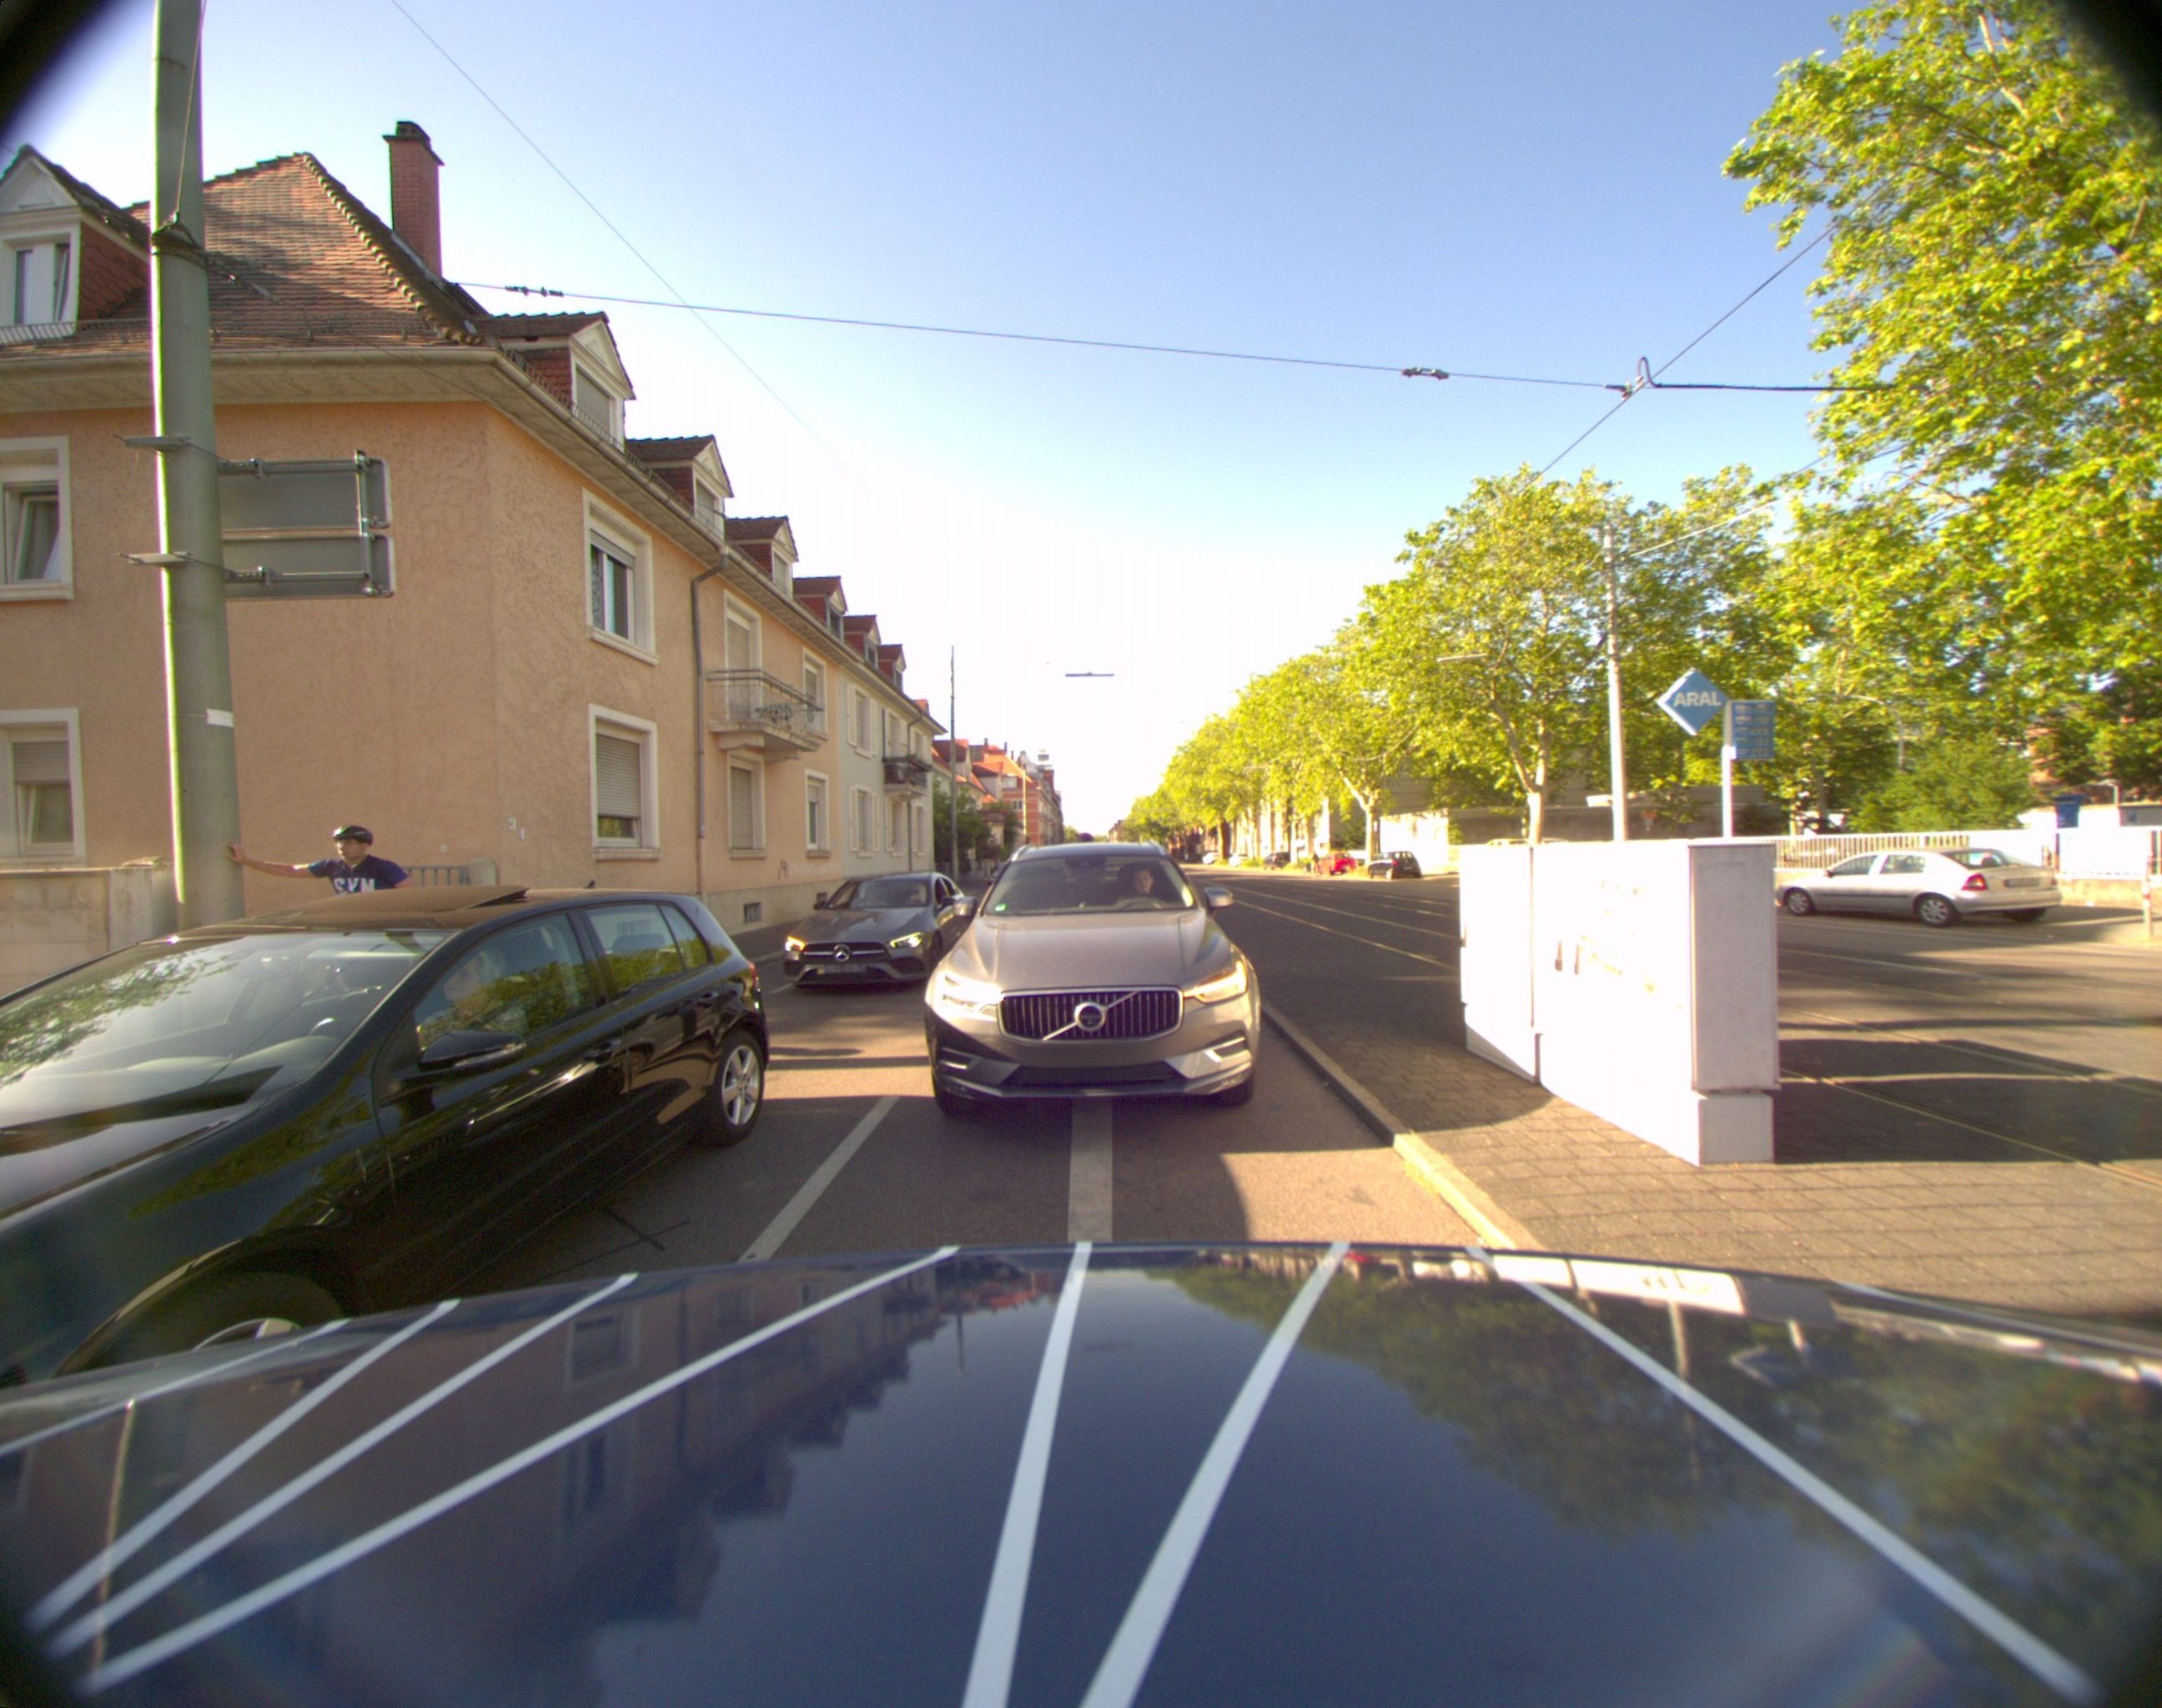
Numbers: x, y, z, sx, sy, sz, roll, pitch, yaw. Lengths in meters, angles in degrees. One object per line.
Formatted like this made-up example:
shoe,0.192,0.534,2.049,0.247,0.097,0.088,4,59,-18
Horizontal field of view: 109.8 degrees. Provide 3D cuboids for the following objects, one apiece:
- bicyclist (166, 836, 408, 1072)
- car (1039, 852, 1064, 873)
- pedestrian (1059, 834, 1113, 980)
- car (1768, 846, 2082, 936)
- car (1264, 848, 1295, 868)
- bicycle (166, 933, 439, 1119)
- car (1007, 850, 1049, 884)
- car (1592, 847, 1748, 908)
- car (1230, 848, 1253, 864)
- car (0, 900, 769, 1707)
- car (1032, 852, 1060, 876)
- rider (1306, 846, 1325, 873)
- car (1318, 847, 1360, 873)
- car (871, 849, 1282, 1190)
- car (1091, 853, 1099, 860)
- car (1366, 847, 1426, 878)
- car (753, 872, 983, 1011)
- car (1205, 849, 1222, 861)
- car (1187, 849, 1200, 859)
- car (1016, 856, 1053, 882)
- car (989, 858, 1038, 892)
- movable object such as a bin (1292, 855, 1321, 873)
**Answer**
bicyclist,-6.061,0.733,5.862,1.021,1.684,0.729,2,0,-7
car,-2.587,0.694,67.285,1.825,1.701,4.334,-2,1,1
pedestrian,0.065,0.676,9.930,0.609,1.832,0.599,-2,1,1
car,16.202,0.627,14.956,1.687,1.358,3.989,-6,0,1
car,17.211,0.318,65.967,1.754,1.582,3.878,-5,1,3
bicycle,-5.888,1.241,5.893,0.556,1.069,1.624,2,0,-7
car,-2.902,0.689,42.400,1.825,1.701,4.334,-2,1,1
car,16.364,0.598,21.365,1.619,1.436,3.606,-5,1,3
car,17.629,0.240,83.471,1.754,1.532,3.878,-5,1,3
car,-2.799,1.046,2.600,1.717,1.430,3.990,-2,1,1
car,-2.775,0.773,60.919,1.825,1.701,4.334,-2,1,1
rider,14.745,0.359,47.719,0.725,1.639,1.106,-2,1,-4
car,16.930,0.373,50.053,1.661,1.486,3.377,-5,1,3
car,0.128,0.798,5.844,1.924,1.579,4.387,-2,1,4
car,3.273,0.577,179.745,1.851,1.640,3.999,-2,1,1
car,16.842,0.443,40.820,1.723,1.436,3.769,-5,1,3
car,-2.659,1.026,10.686,1.825,1.422,4.491,-2,-1,1
car,17.585,0.095,100.685,1.661,1.452,3.730,-5,1,3
car,18.567,0.051,125.561,1.661,1.452,3.730,-5,1,3
car,-2.815,0.870,46.955,1.825,1.424,4.334,-2,1,1
car,-3.226,0.964,37.145,1.825,1.422,4.334,-2,1,1
movable object such as a bin,14.537,0.619,49.037,1.178,1.097,1.834,-2,1,-4
